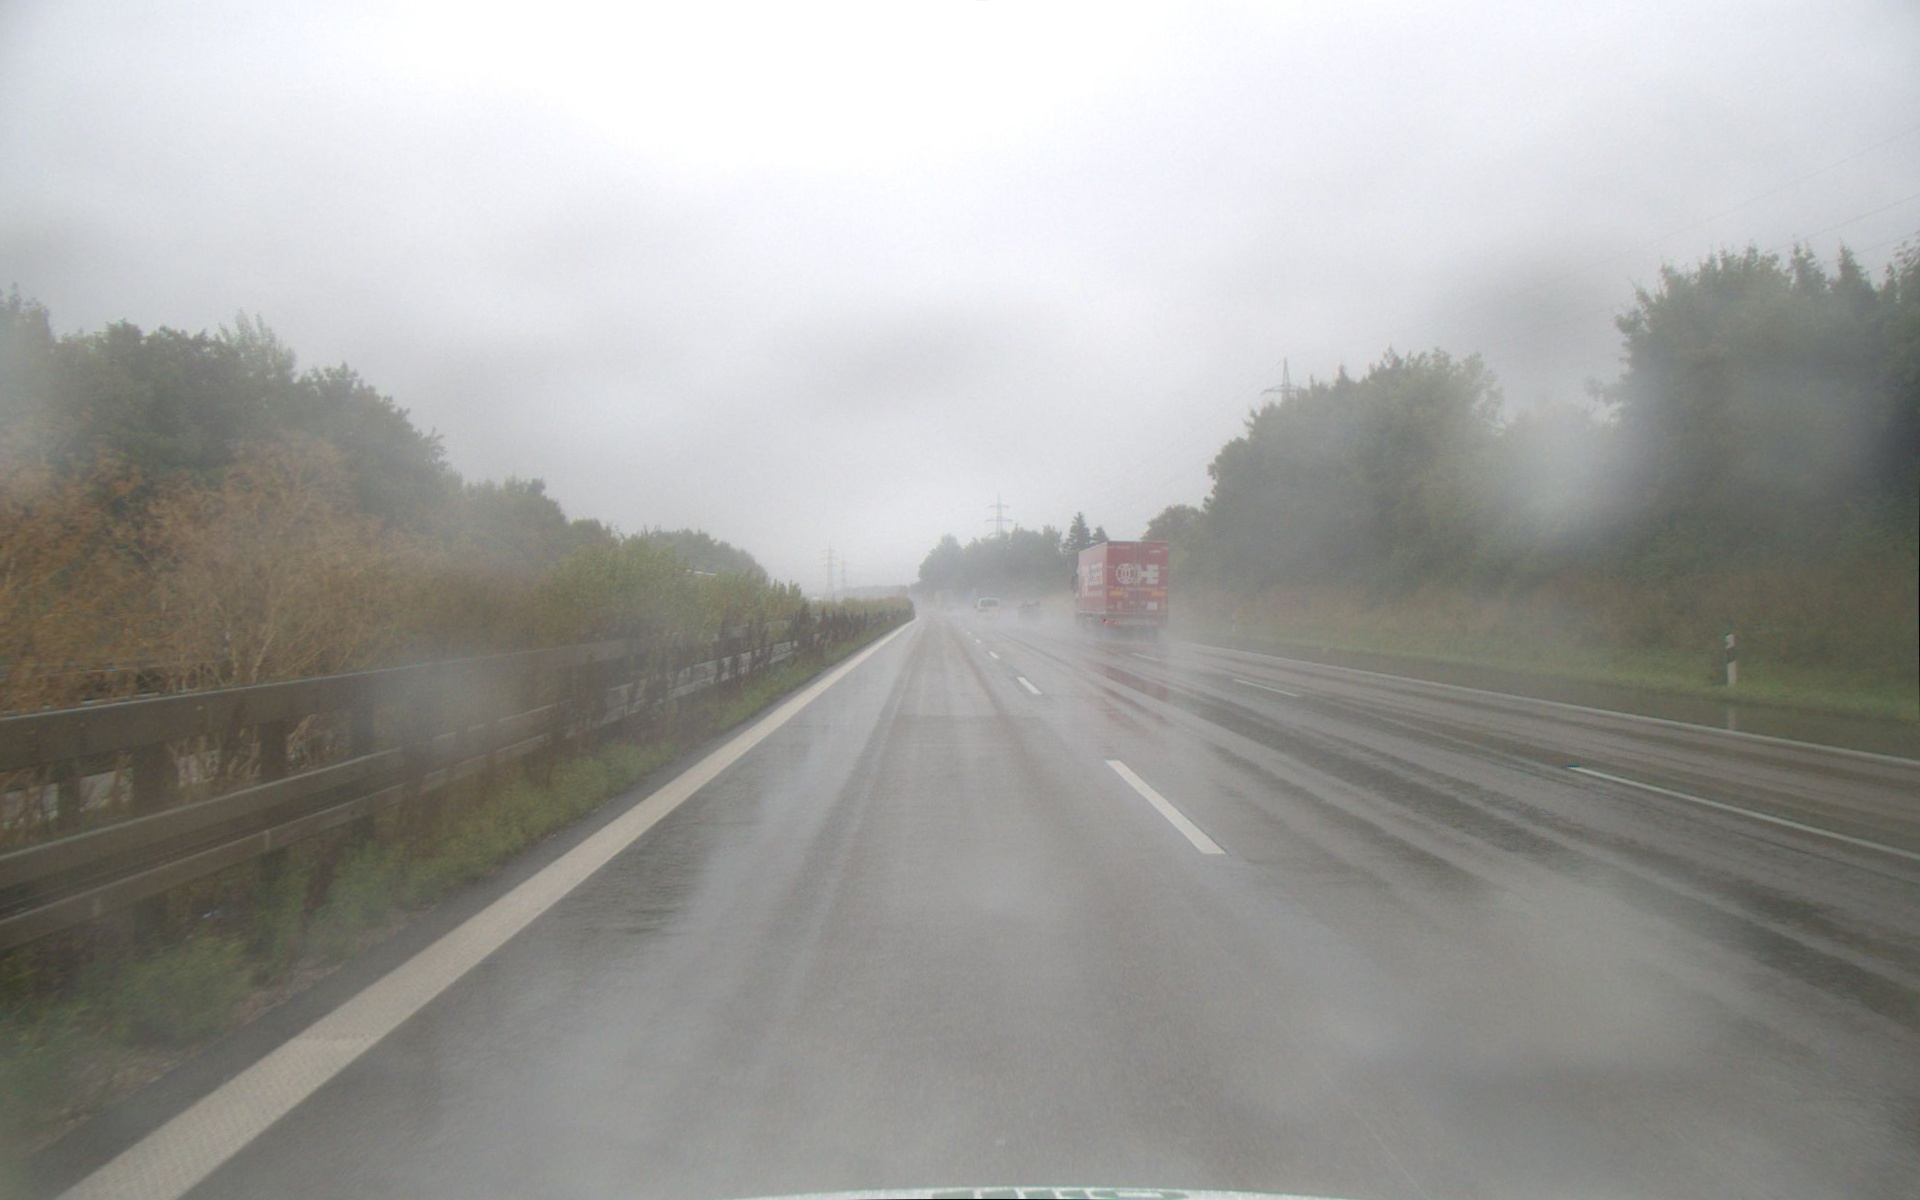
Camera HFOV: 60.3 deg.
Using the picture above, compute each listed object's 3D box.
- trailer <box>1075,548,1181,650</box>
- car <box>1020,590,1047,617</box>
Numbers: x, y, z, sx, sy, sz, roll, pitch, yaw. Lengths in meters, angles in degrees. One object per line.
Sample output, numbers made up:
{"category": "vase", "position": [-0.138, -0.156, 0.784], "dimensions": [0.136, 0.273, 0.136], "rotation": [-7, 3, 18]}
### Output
{"category": "trailer", "position": [7.352, -0.007, 74.395], "dimensions": [2.568, 4.024, 13.622], "rotation": [-3, 0, -3]}
{"category": "car", "position": [6.349, 0.310, 142.778], "dimensions": [1.772, 2.196, 3.996], "rotation": [-3, 0, -5]}
